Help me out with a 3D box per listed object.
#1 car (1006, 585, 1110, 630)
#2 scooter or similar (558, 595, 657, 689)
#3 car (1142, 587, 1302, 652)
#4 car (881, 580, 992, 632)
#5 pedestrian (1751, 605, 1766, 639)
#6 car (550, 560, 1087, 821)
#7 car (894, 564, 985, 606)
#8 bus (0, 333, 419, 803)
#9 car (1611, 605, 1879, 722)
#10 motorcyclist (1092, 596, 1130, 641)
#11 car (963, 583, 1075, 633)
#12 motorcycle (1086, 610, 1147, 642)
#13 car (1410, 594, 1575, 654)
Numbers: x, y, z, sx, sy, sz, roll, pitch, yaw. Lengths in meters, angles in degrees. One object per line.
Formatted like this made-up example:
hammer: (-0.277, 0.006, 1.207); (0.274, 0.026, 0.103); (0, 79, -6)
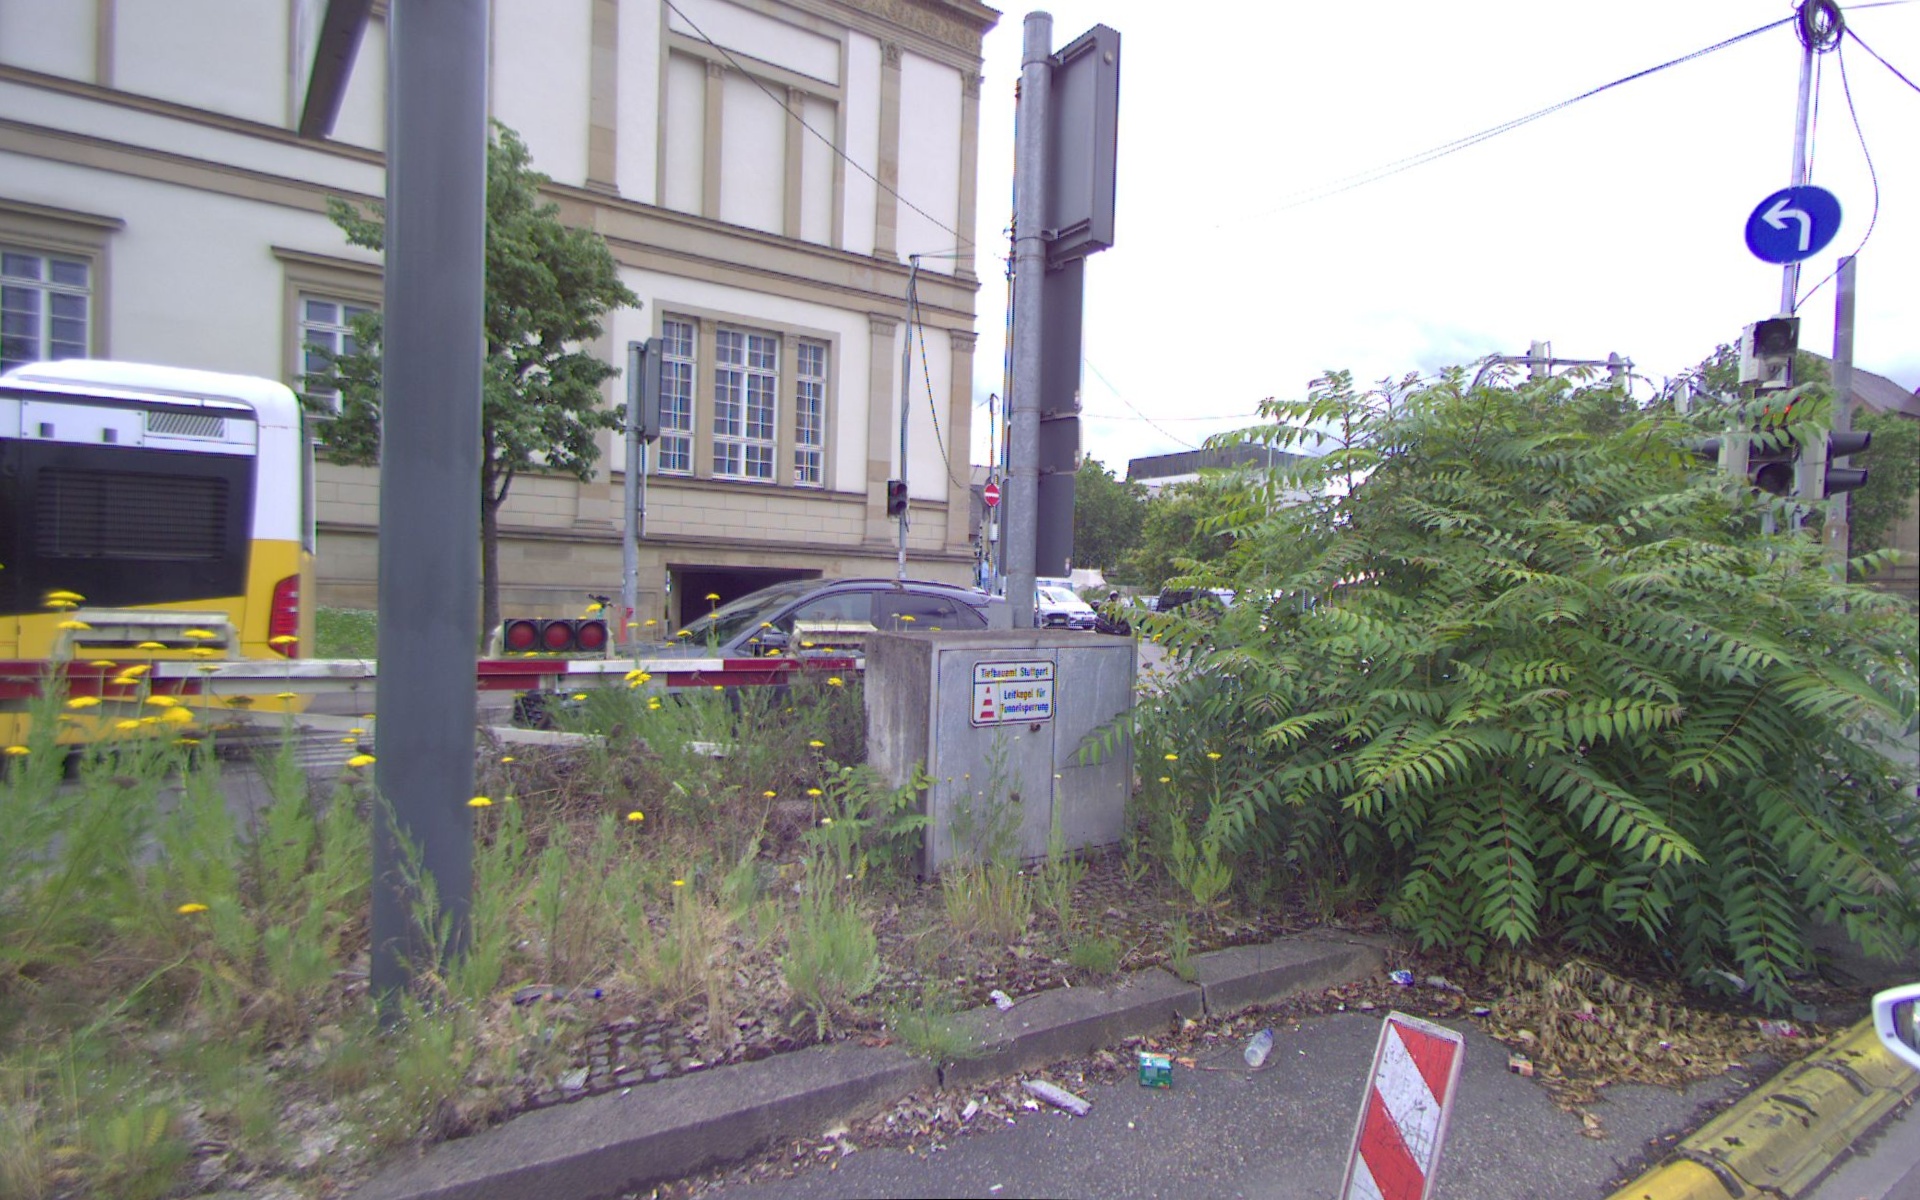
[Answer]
car: (3.978, 0.298, 41.444); (1.979, 1.698, 4.285); (1, 1, -34)
scooter or similar: (-4.947, 0.585, 14.138); (1.132, 1.190, 0.540); (6, 0, -10)
car: (7.542, 0.515, 29.282); (1.979, 1.698, 4.285); (1, 1, -34)
car: (-0.913, 0.169, 35.923); (1.979, 1.698, 4.285); (1, 1, -34)
pedestrian: (49.765, 1.369, 62.590); (0.516, 2.040, 0.428); (2, 1, 17)
car: (-1.038, 0.582, 7.931); (3.840, 1.611, 1.687); (1, 0, -32)
car: (-0.944, -0.680, 43.688); (1.979, 1.698, 4.285); (1, 1, -34)
bus: (-8.913, -0.277, 6.957); (9.014, 3.156, 2.832); (1, 1, -30)
car: (11.830, 0.883, 15.060); (4.579, 1.491, 1.691); (2, 0, -32)
motorcyclist: (4.926, 0.595, 32.859); (0.738, 1.442, 0.959); (1, 1, -35)
car: (2.149, 0.264, 37.600); (1.979, 1.698, 4.285); (1, 1, -34)
motorcycle: (5.067, 0.847, 32.656); (0.749, 0.937, 2.042); (1, 1, -35)
car: (17.126, 0.733, 32.453); (1.986, 1.698, 4.271); (1, 1, -43)
